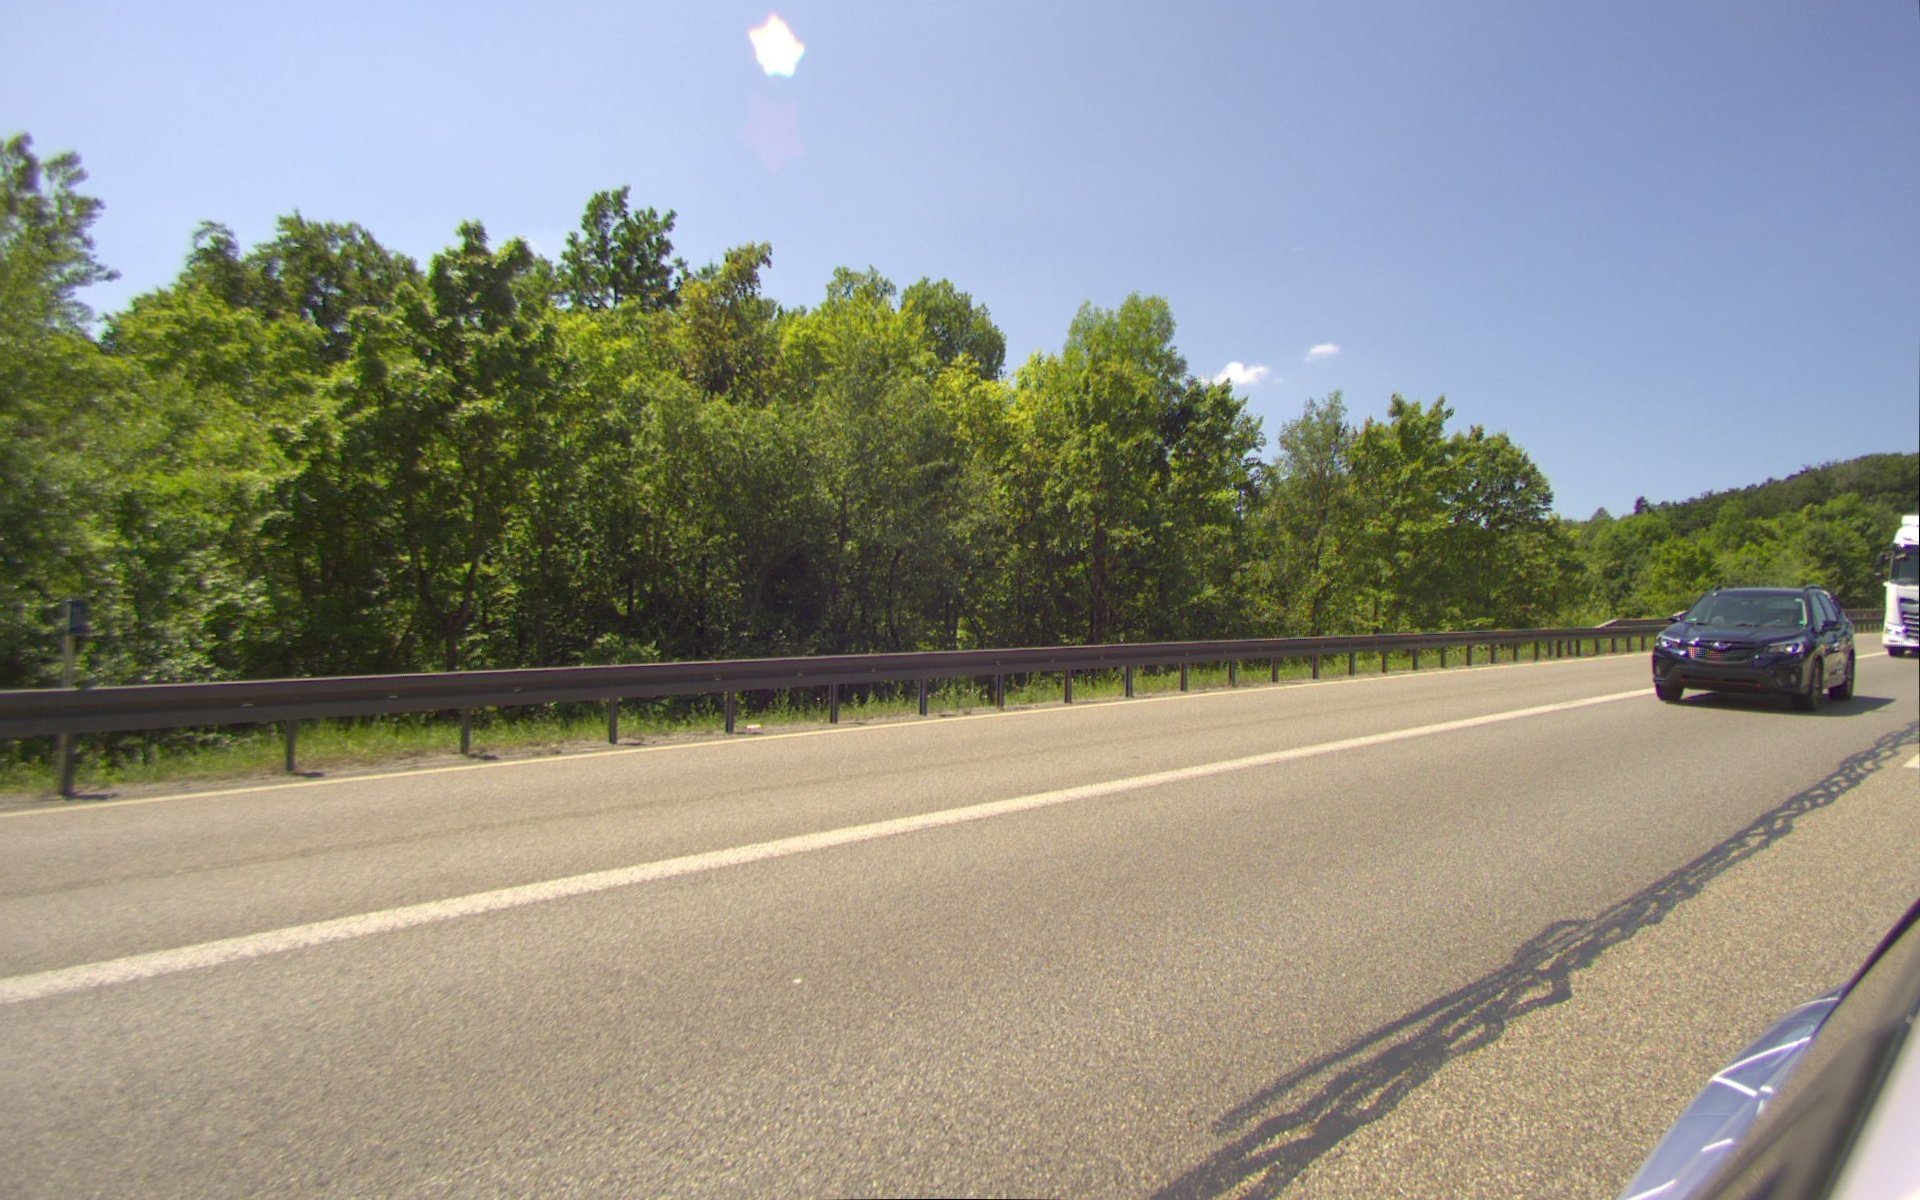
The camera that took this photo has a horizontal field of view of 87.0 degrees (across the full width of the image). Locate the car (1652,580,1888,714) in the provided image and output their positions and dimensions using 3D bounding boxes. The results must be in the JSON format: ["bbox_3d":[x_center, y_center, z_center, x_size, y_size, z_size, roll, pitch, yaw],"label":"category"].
[{"bbox_3d":[11.946,0.568,14.841,4.127,1.688,1.816,0,1,-38],"label":"car"}]

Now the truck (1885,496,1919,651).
[{"bbox_3d":[32.886,-0.701,32.096,15.972,4.221,2.790,0,0,-39],"label":"truck"}]
